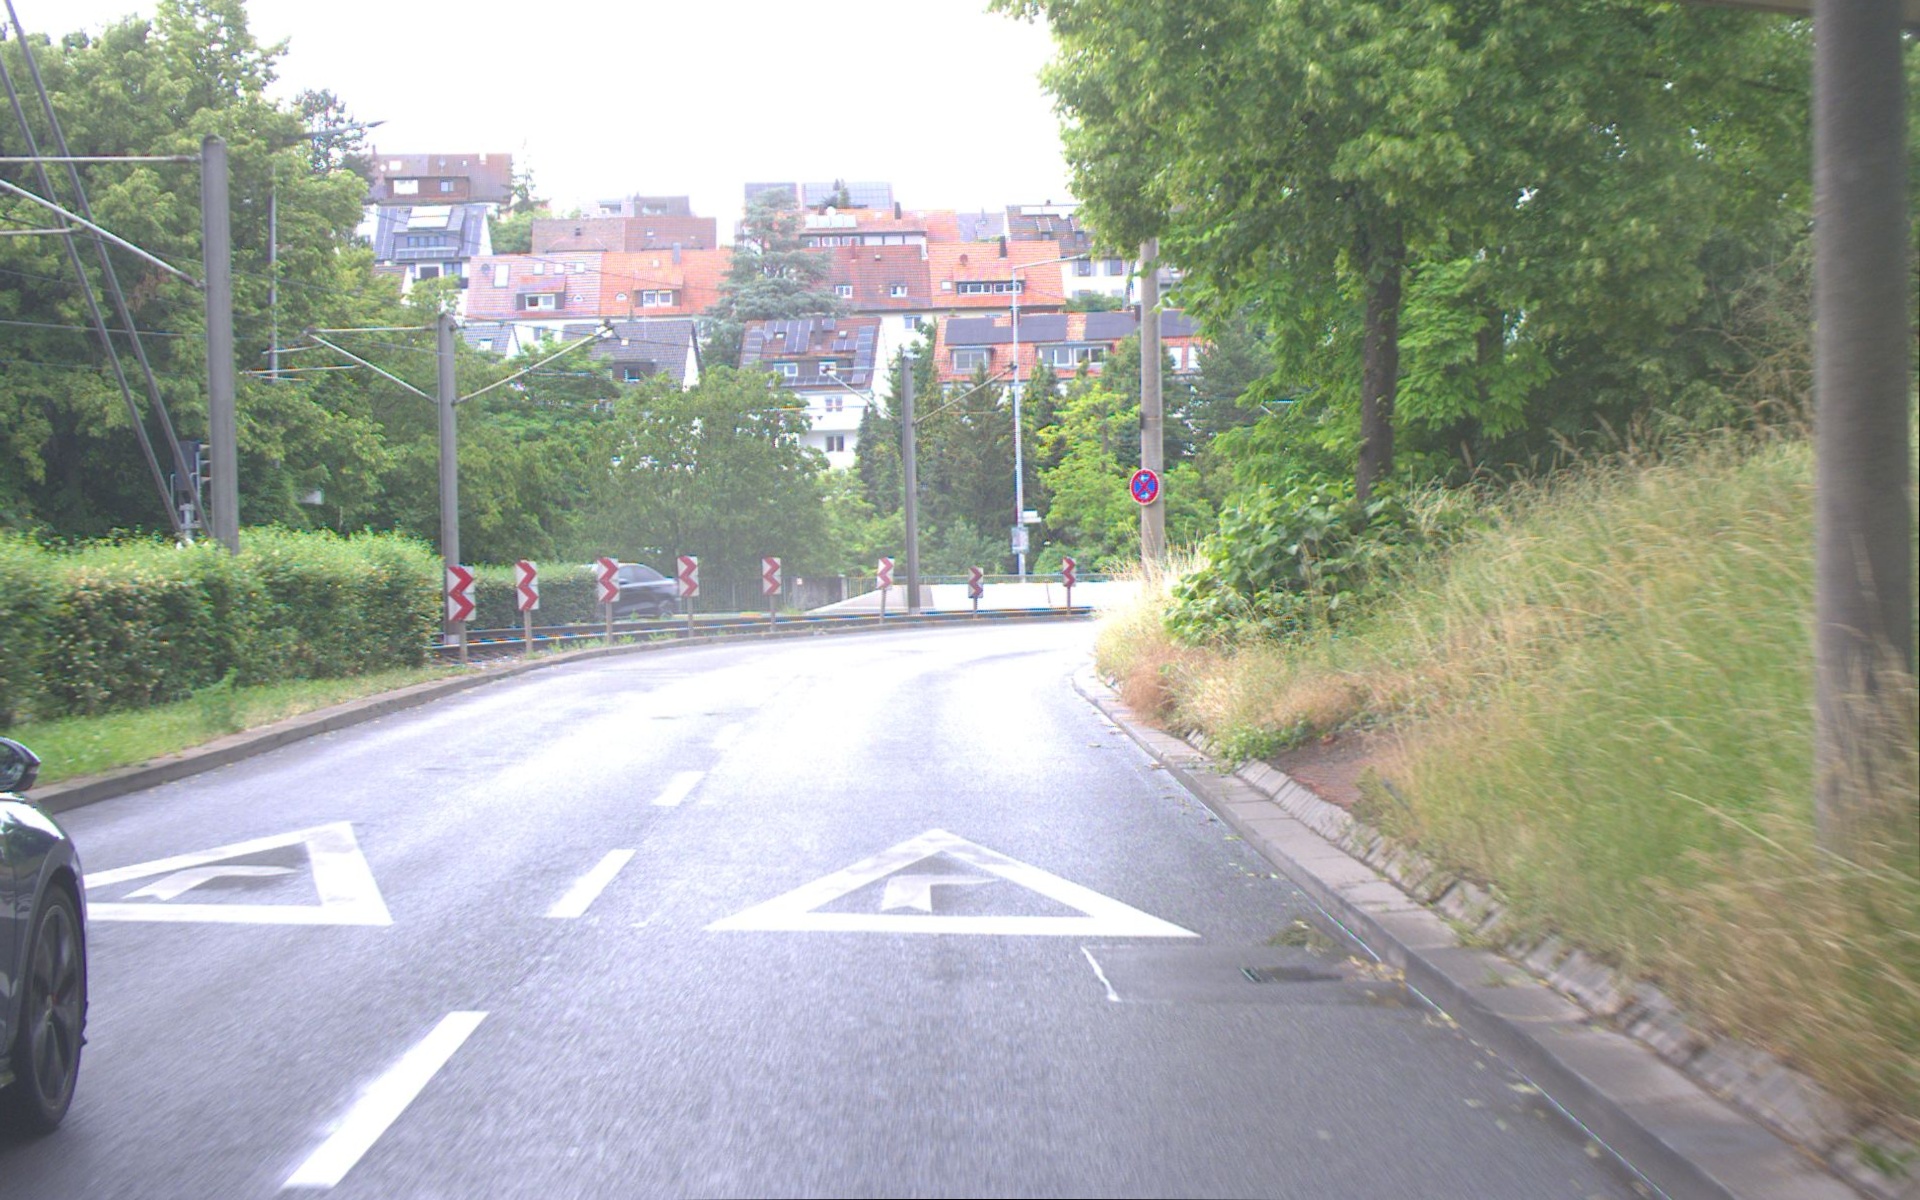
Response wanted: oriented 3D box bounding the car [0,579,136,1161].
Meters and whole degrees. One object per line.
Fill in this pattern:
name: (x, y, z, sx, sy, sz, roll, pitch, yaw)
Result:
car: (-3.174, 0.648, 7.327, 1.808, 1.374, 4.347, 1, 1, 0)
